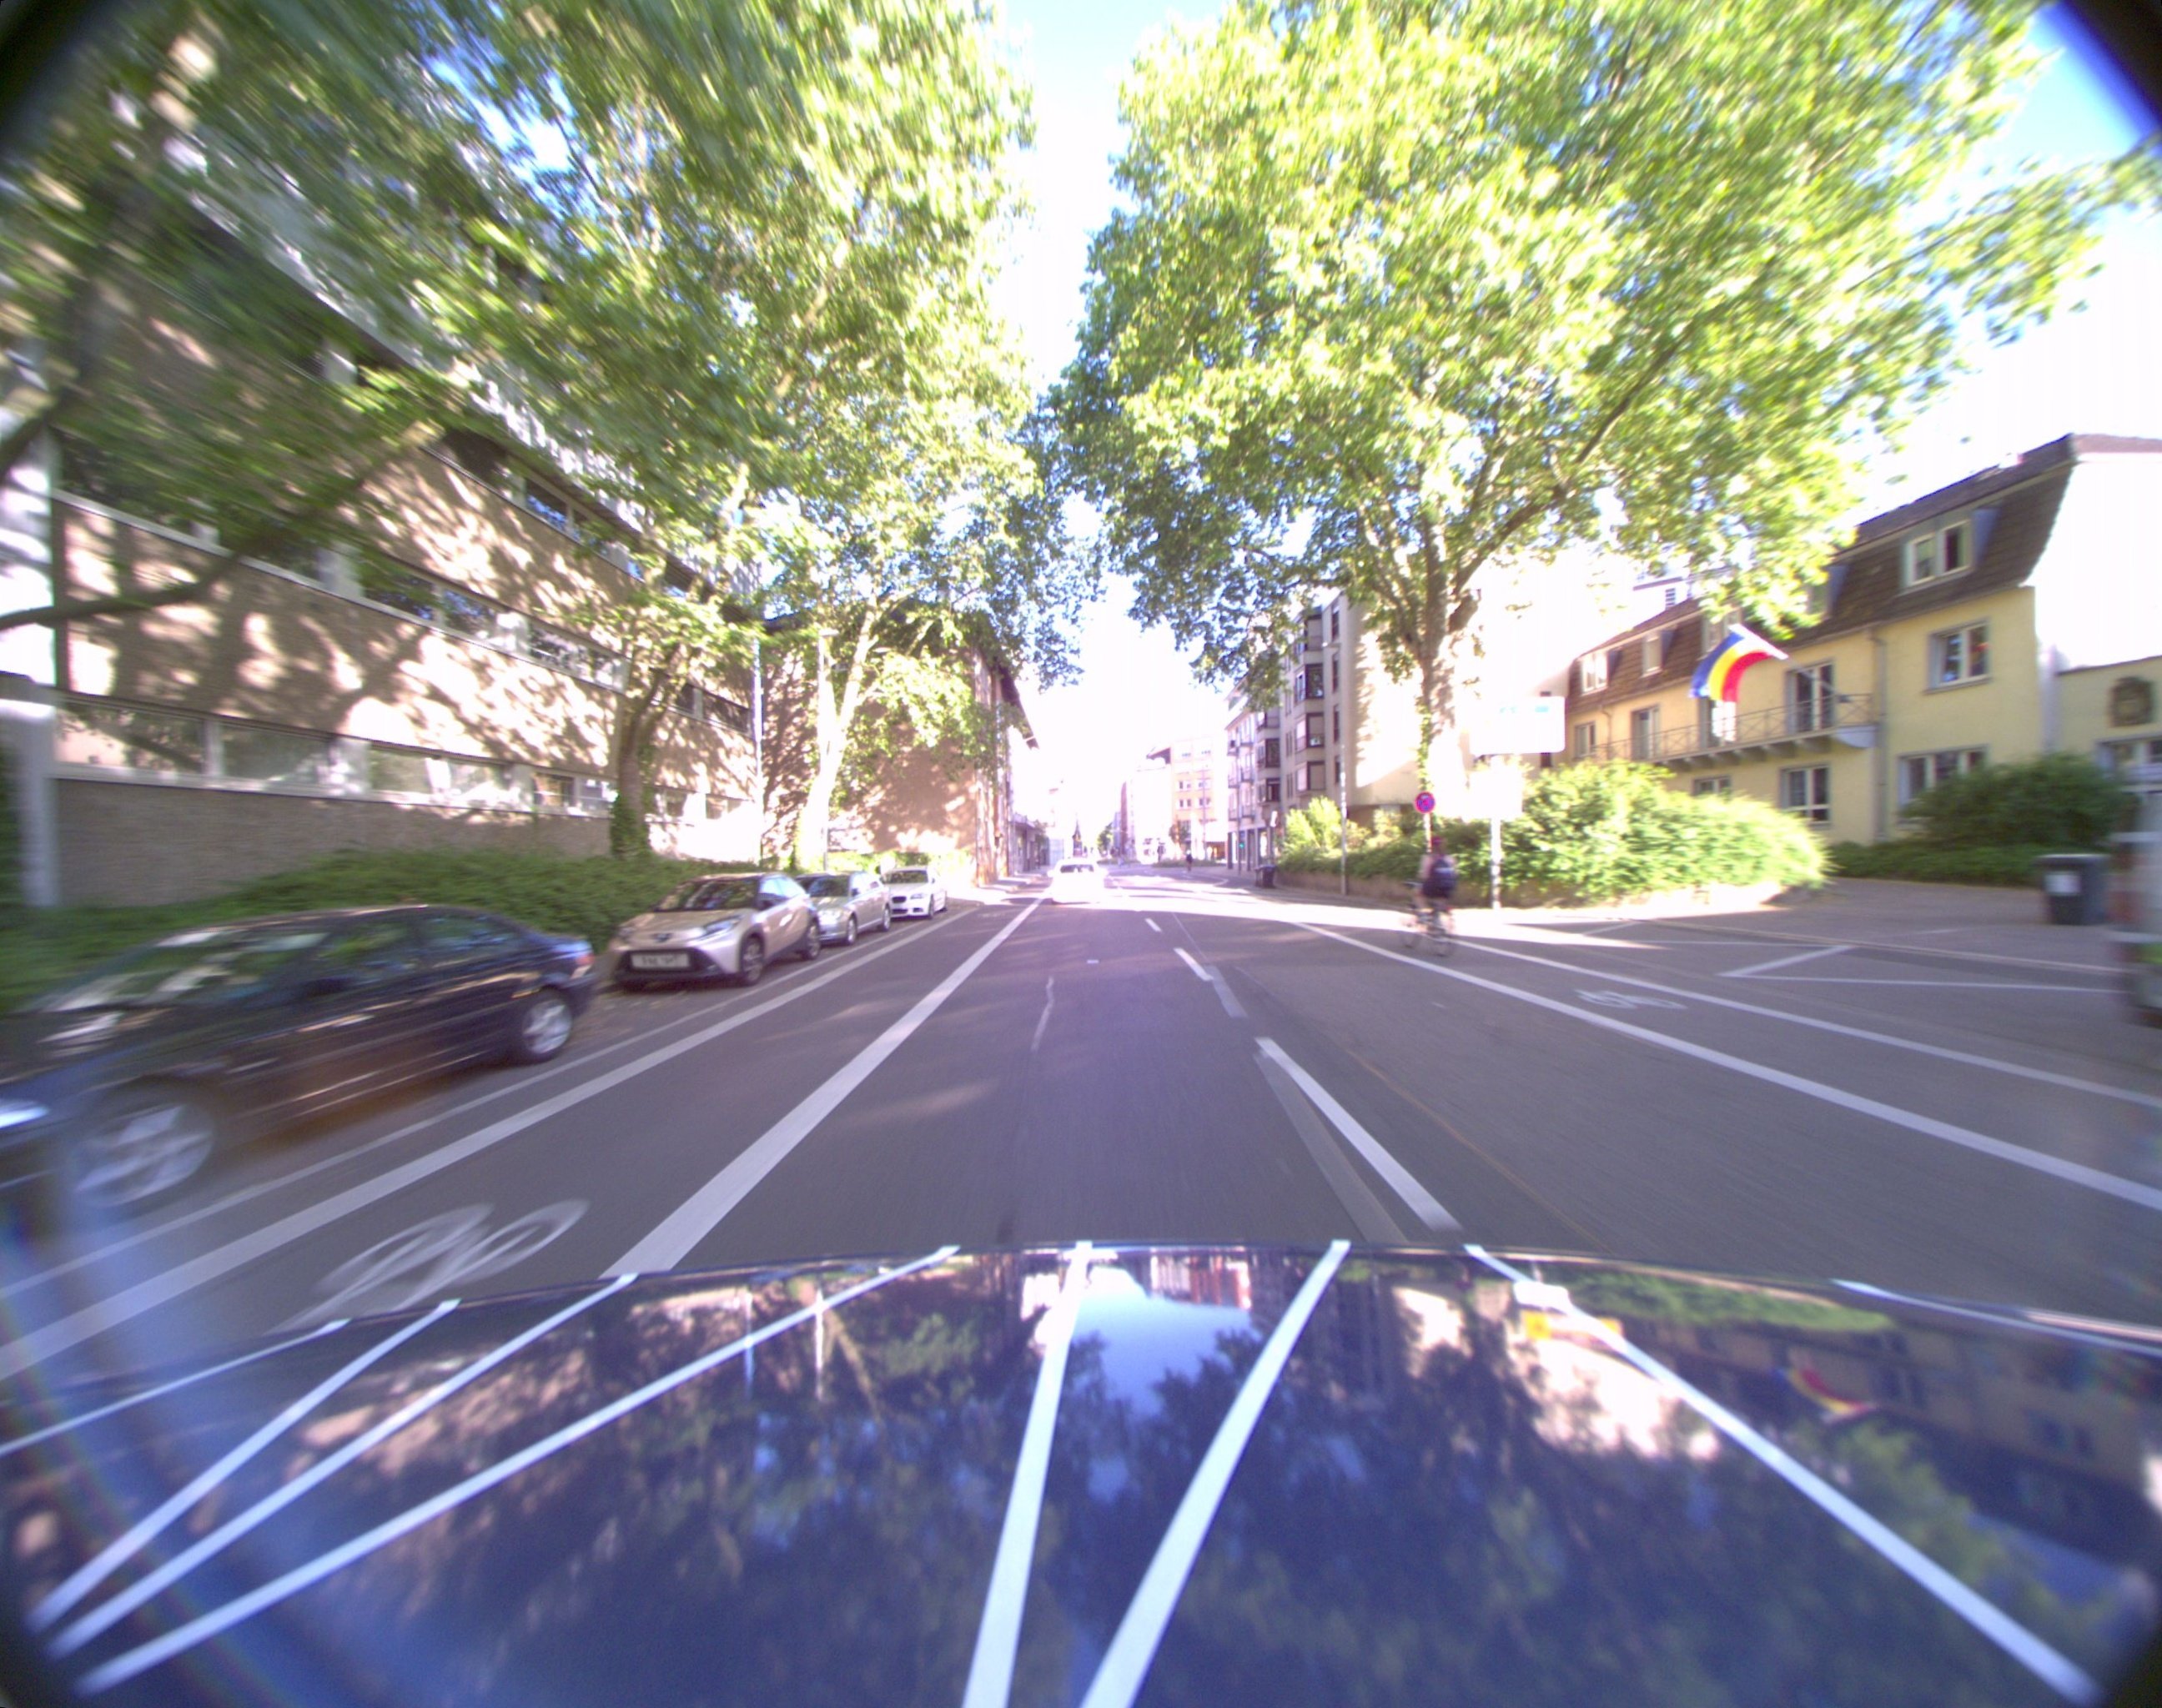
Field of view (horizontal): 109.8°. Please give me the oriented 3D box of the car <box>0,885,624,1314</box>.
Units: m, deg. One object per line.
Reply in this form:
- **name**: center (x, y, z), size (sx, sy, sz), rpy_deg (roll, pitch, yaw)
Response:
- **car**: center (-5.307, 1.120, 4.916), size (1.860, 1.514, 4.598), rpy_deg (-3, 1, 0)

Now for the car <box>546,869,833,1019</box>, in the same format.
- **car**: center (-5.251, 1.090, 10.986), size (1.860, 1.514, 4.296), rpy_deg (-3, 1, 0)

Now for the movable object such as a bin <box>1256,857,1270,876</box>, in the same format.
- **movable object such as a bin**: center (8.538, 0.592, 35.702), size (0.542, 0.896, 0.559), rpy_deg (-1, 1, 1)

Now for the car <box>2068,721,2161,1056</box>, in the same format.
- **car**: center (9.506, 0.124, 4.365), size (4.856, 2.204, 2.139), rpy_deg (-3, 1, 0)

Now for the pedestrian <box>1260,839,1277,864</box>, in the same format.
- **pedestrian**: center (12.910, -0.176, 52.257), size (0.836, 1.730, 0.721), rpy_deg (-3, 2, -22)

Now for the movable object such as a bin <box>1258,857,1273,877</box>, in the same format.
- **movable object such as a bin**: center (8.533, 0.611, 35.085), size (0.542, 0.896, 0.644), rpy_deg (-1, 1, 1)

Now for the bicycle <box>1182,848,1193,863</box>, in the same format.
- **bicycle**: center (9.090, 0.121, 64.783), size (0.730, 1.193, 2.178), rpy_deg (0, 1, 2)

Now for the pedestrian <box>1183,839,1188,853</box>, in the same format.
- **pedestrian**: center (13.757, -1.033, 100.139), size (0.593, 1.737, 0.502), rpy_deg (-2, 2, 9)

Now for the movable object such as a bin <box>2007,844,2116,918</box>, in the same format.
- **movable object such as a bin**: center (14.755, 0.392, 11.457), size (0.529, 1.038, 0.835), rpy_deg (-3, 1, 0)

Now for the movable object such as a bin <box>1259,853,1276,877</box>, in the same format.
- **movable object such as a bin**: center (8.431, 0.483, 34.359), size (0.595, 1.065, 0.644), rpy_deg (-1, 1, 1)

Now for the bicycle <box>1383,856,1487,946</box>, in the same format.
- **bicycle**: center (5.296, 0.650, 11.515), size (0.608, 1.232, 2.049), rpy_deg (1, 0, 0)

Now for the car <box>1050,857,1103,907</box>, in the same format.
- **car**: center (-0.156, 0.907, 26.077), size (1.683, 1.490, 3.684), rpy_deg (-1, 1, -1)

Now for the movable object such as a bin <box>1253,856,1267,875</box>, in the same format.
- **movable object such as a bin**: center (8.543, 0.550, 36.320), size (0.542, 0.896, 0.604), rpy_deg (-1, 1, 1)

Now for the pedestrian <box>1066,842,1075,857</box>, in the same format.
- **pedestrian**: center (-1.305, -0.521, 95.101), size (0.709, 1.809, 0.705), rpy_deg (0, 2, -42)

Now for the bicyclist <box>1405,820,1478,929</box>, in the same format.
- **bicyclist**: center (5.290, 0.285, 11.207), size (0.608, 1.536, 0.934), rpy_deg (1, 1, 0)

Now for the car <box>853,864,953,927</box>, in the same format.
- **car**: center (-4.926, 1.082, 21.718), size (1.860, 1.428, 4.968), rpy_deg (-2, 1, -3)

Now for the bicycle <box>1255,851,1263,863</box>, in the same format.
- **bicycle**: center (13.315, 0.223, 56.853), size (0.359, 0.819, 1.523), rpy_deg (-2, 1, 3)

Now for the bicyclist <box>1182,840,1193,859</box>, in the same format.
- **bicyclist**: center (9.080, -0.375, 64.746), size (0.730, 1.632, 1.167), rpy_deg (-1, 1, 2)

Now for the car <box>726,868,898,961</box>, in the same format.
- **car**: center (-5.277, 1.103, 15.649), size (1.860, 1.428, 4.601), rpy_deg (-2, 1, 0)
